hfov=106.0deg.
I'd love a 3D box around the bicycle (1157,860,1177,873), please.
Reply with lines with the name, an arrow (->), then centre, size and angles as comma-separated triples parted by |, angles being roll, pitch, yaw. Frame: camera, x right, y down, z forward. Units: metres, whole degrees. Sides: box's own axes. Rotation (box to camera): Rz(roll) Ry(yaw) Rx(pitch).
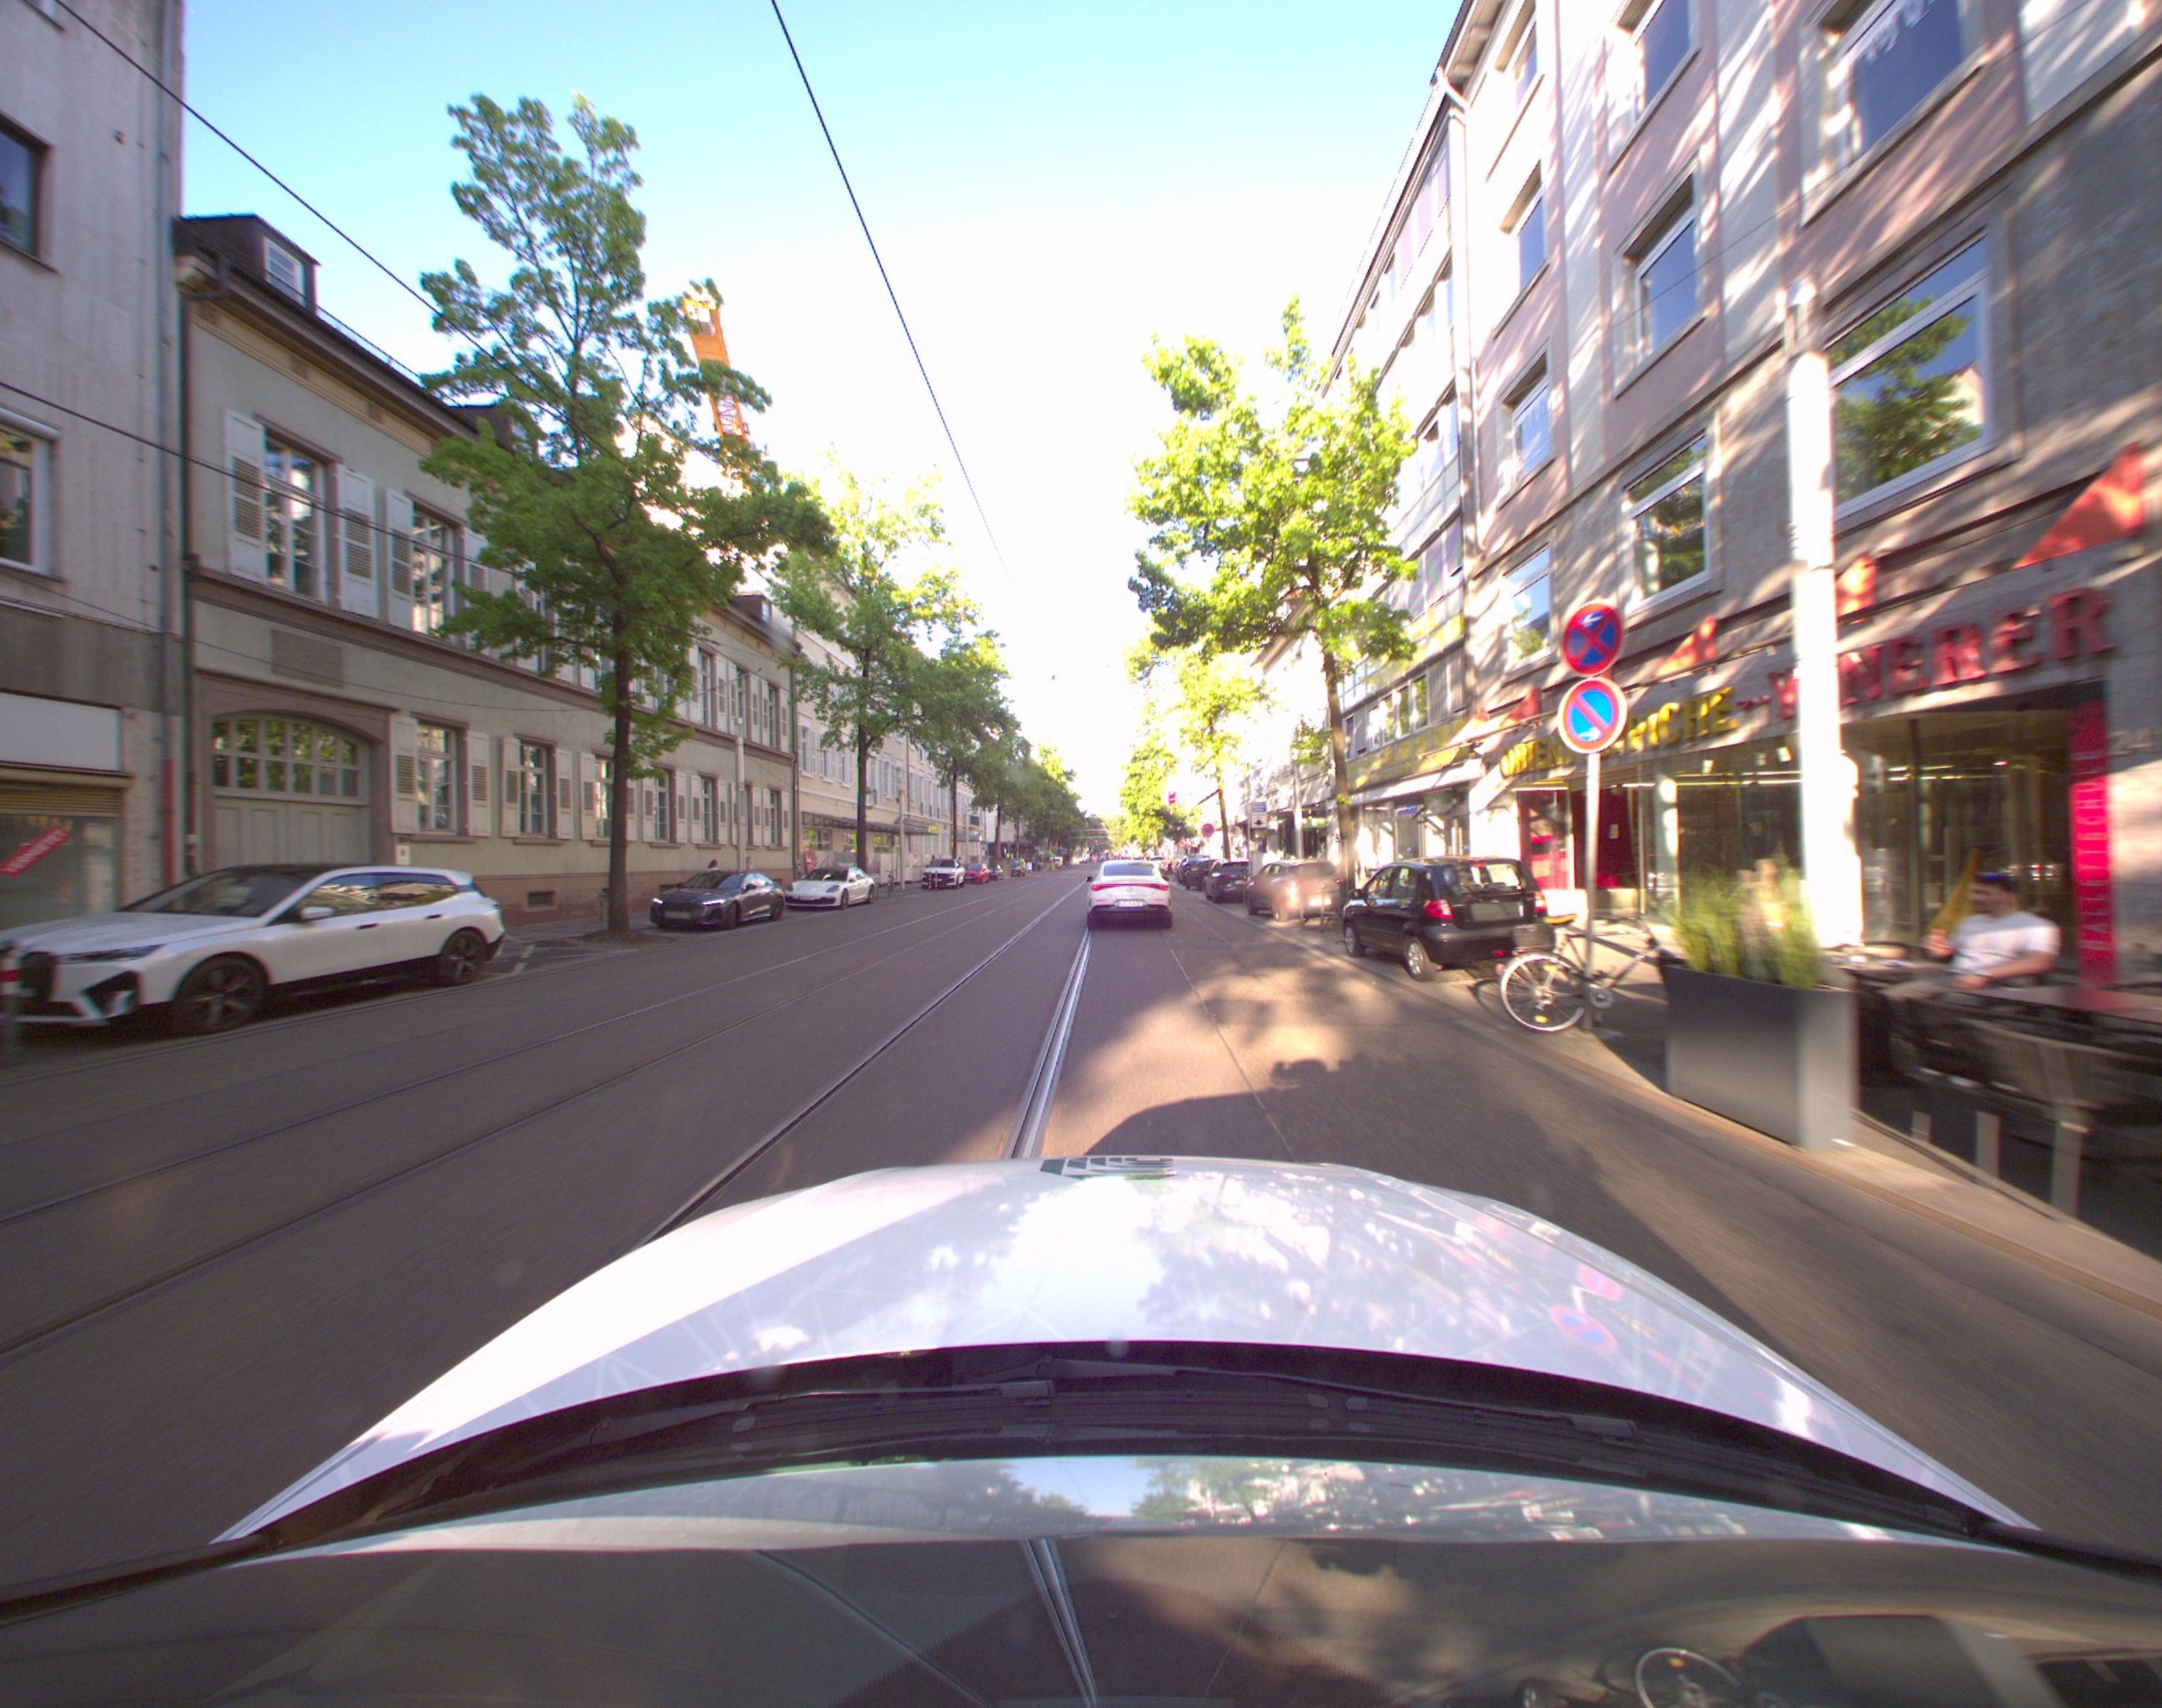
bicycle -> 7.595, 1.068, 71.600 | 1.714, 1.062, 0.581 | -2, 0, 5

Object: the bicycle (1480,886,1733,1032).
bicycle -> 4.478, 0.903, 7.080 | 1.711, 1.138, 0.549 | -4, -1, 22

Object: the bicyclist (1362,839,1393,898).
bicyclist -> 8.720, 0.435, 23.947 | 0.636, 1.684, 0.600 | -3, -1, 0

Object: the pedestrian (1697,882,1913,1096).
pedestrian -> 4.601, 0.832, 5.226 | 0.813, 1.265, 0.587 | -2, 0, 7

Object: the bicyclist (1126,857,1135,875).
bicyclist -> 4.747, 1.167, 78.067 | 0.722, 1.702, 0.811 | -2, -1, 3

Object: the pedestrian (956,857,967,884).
pedestrian -> -9.296, 1.284, 63.315 | 0.705, 2.004, 0.675 | -2, -1, -2

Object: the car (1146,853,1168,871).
car -> 7.668, 0.770, 82.787 | 1.986, 1.728, 4.243 | -2, 0, 2

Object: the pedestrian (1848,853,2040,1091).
pedestrian -> 5.635, 0.706, 5.330 | 0.713, 1.387, 0.739 | -2, -1, -36

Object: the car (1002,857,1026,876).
car -> -6.500, 1.213, 79.183 | 1.543, 1.796, 3.176 | -2, 0, 11

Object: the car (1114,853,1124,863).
car -> 9.192, 0.997, 198.861 | 1.989, 2.541, 3.996 | -1, -1, -3

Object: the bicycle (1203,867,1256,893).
bicycle -> 5.851, 1.039, 32.107 | 2.026, 0.964, 0.282 | -2, -1, 7

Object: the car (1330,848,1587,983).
car -> 4.950, 0.732, 11.301 | 1.794, 1.458, 3.654 | -3, -1, 0

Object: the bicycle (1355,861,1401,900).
bicycle -> 8.745, 0.753, 24.041 | 0.645, 1.074, 1.861 | -3, 0, 1

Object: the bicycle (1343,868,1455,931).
bicycle -> 6.096, 0.857, 15.649 | 1.854, 1.074, 0.710 | -3, 0, -8

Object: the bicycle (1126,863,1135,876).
bicycle -> 4.755, 1.455, 78.154 | 0.737, 1.188, 2.162 | -2, -1, 3

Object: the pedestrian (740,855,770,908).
pedestrian -> -10.690, 0.899, 26.719 | 0.683, 1.721, 0.656 | -1, -1, 2

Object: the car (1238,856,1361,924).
car -> 5.310, 0.821, 20.333 | 1.810, 1.486, 3.995 | -1, -1, -3

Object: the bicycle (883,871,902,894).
bicycle -> -9.491, 1.413, 41.010 | 0.592, 1.050, 2.005 | -2, 0, -5

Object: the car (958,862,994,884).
car -> -7.378, 1.323, 57.530 | 1.681, 1.499, 4.237 | -1, -1, 3

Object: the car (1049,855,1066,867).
car -> -4.049, 1.242, 141.844 | 1.981, 2.013, 4.012 | -2, 0, 10

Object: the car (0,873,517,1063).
car -> -9.638, 1.101, 9.924 | 1.954, 1.640, 4.815 | 1, 0, 3

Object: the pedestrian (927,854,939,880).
pedestrian -> -10.519, 0.948, 58.038 | 0.706, 1.806, 0.675 | -2, -1, -3

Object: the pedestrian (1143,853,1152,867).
pedestrian -> 8.362, 0.773, 102.791 | 0.920, 1.774, 0.870 | -2, 0, -12

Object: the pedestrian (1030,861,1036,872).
pedestrian -> -6.375, 1.621, 108.882 | 0.564, 1.464, 0.653 | -2, 0, 21

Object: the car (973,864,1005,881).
car -> -7.396, 1.470, 66.004 | 1.986, 1.292, 4.002 | -1, 0, 2

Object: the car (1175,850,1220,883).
car -> 6.480, 0.669, 45.795 | 1.986, 1.713, 4.868 | -2, 0, 2

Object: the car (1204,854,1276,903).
car -> 5.360, 0.781, 27.982 | 1.863, 1.453, 4.110 | -4, 0, 4

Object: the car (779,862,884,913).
car -> -8.796, 1.126, 29.197 | 1.938, 1.640, 4.913 | -1, -1, 4

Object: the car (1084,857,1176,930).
car -> 1.102, 0.820, 18.520 | 1.860, 1.469, 4.045 | 0, 0, 3

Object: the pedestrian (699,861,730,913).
pedestrian -> -12.184, 1.079, 27.078 | 0.672, 1.680, 0.648 | -2, -1, 2

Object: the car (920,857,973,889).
car -> -7.751, 1.083, 47.535 | 1.953, 1.692, 5.017 | -1, -1, 3

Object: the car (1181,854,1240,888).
car -> 6.010, 0.786, 38.163 | 1.834, 1.436, 3.994 | -2, 0, -4

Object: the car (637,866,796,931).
car -> -9.269, 1.064, 21.250 | 1.956, 1.412, 4.845 | -1, -1, 0
